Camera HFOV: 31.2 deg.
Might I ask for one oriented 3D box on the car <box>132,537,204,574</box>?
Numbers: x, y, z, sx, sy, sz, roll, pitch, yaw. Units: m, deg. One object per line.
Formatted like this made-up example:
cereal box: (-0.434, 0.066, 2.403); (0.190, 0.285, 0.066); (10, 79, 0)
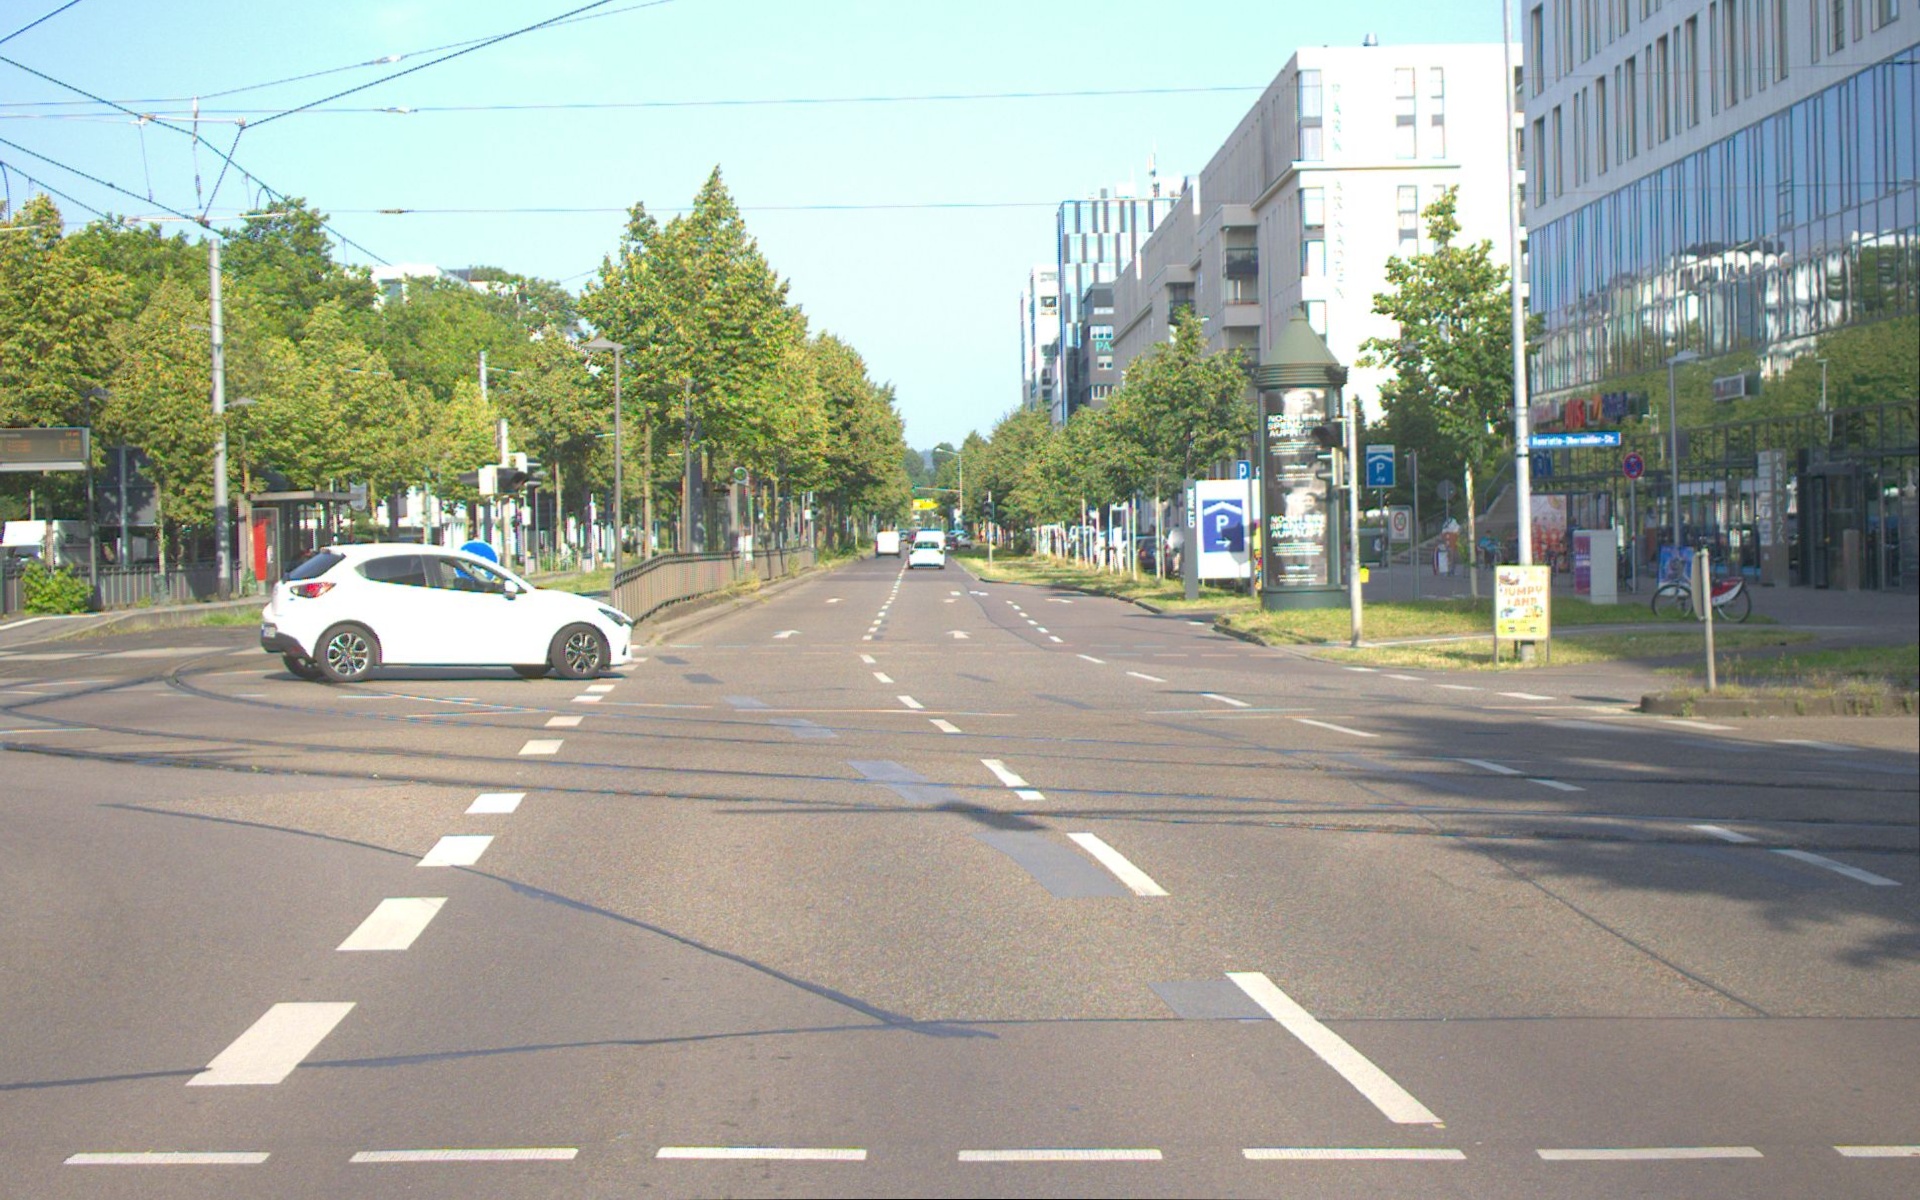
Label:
car: (-34.412, -1.946, 149.506); (1.881, 1.554, 3.999); (-1, 1, 5)

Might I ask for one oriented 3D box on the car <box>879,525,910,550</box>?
car: (-4.549, -4.364, 239.433); (2.014, 1.678, 4.000); (1, 2, 0)

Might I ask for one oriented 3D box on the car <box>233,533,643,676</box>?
car: (-5.743, 0.033, 37.754); (4.078, 1.499, 2.001); (0, 1, -23)

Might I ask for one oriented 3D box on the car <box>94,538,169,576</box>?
car: (-34.921, -1.812, 145.009); (1.881, 1.554, 3.999); (-1, 1, 5)

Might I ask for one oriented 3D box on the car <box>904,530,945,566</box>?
car: (-1.684, -2.495, 164.041); (1.864, 1.678, 4.000); (1, 2, 0)

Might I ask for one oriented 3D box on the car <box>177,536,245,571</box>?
car: (-33.938, -2.117, 155.928); (1.881, 1.554, 3.999); (-1, 1, 5)

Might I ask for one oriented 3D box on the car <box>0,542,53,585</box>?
car: (-35.688, -1.369, 129.088); (1.881, 1.554, 3.999); (-1, 1, 5)

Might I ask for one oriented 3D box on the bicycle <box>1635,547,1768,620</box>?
bicycle: (11.419, -0.264, 52.971); (0.771, 1.028, 1.878); (-2, 4, -44)
